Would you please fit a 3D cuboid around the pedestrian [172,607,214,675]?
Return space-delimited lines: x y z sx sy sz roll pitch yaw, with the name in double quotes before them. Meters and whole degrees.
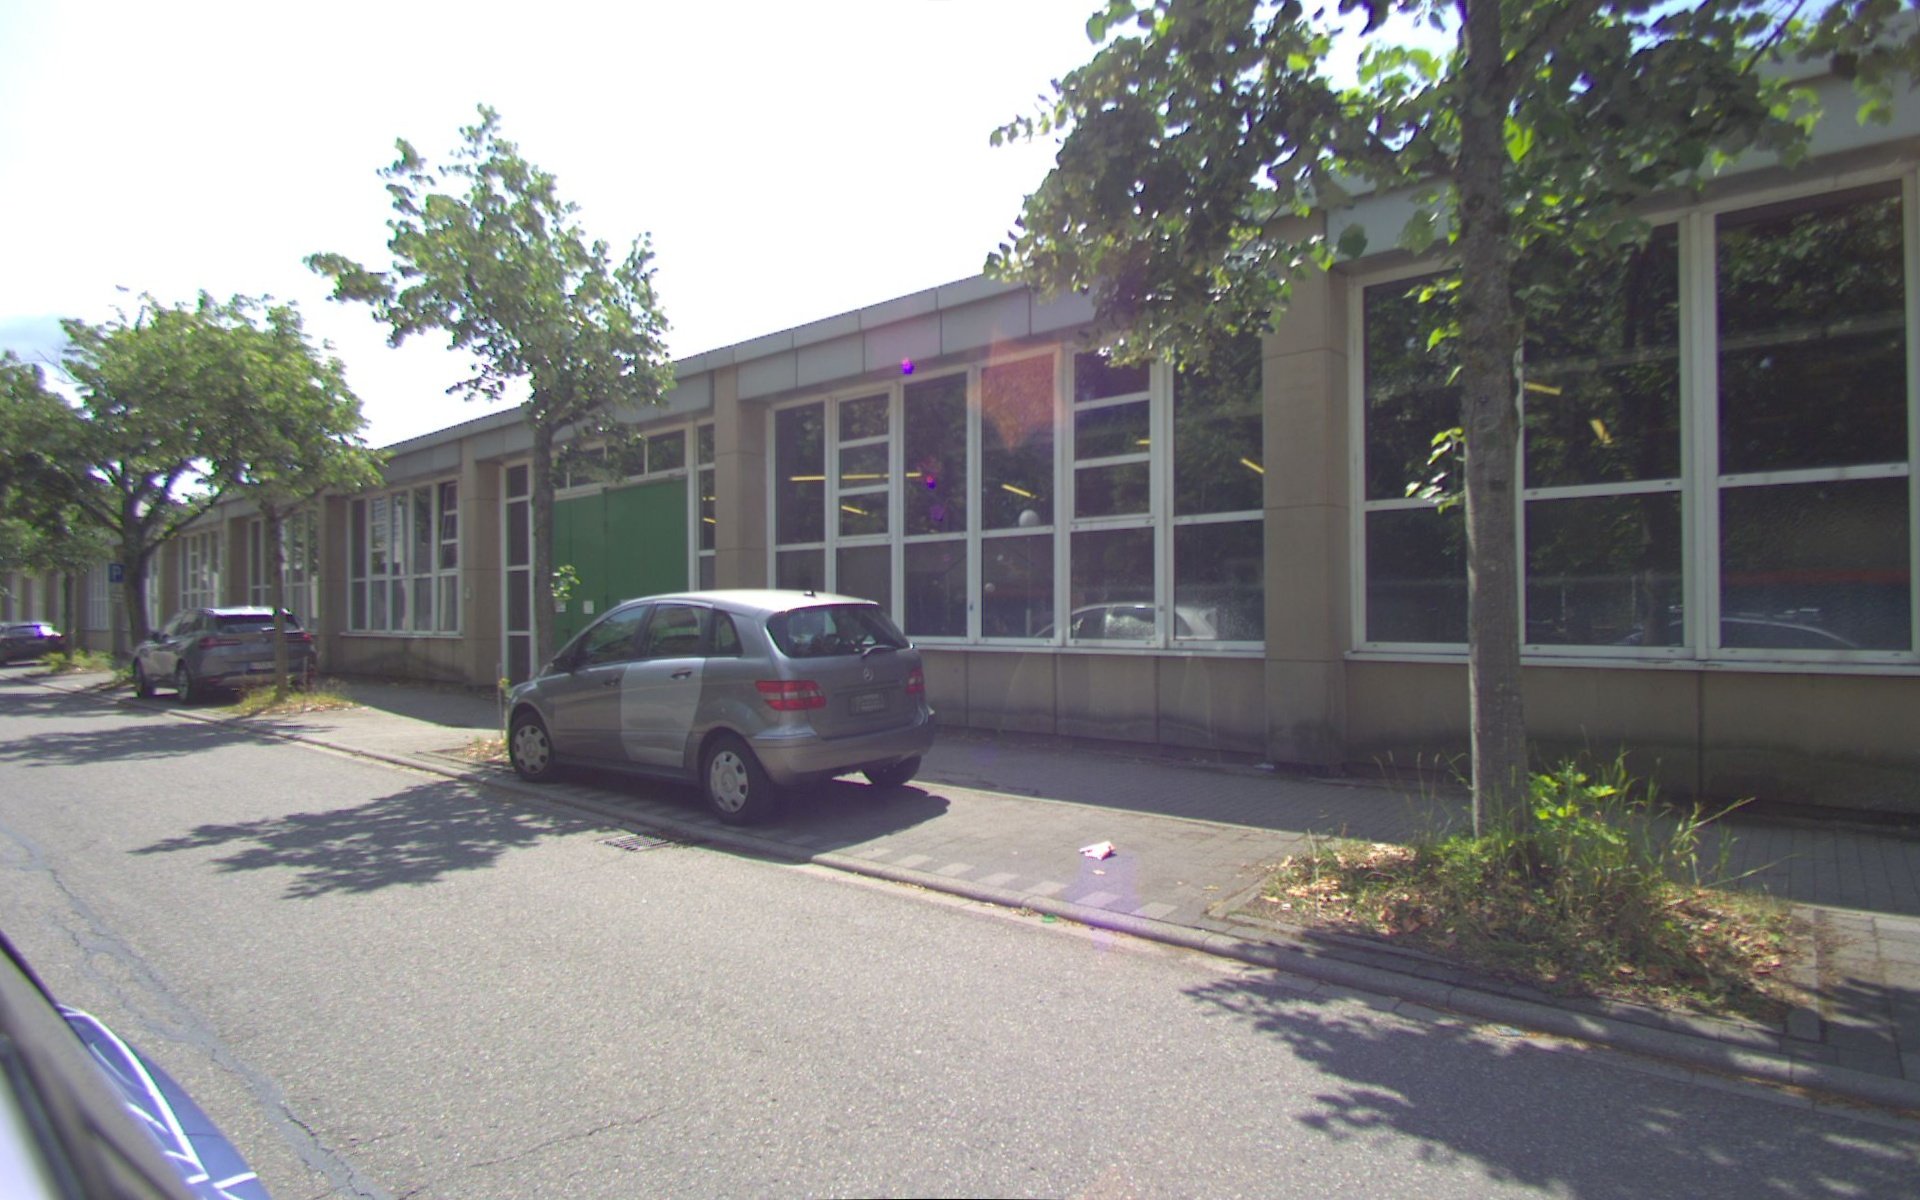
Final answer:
"pedestrian" -20.922 1.108 27.609 0.670 1.800 0.779 -3 -1 44

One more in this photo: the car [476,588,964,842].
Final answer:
"car" -2.124 0.746 8.343 4.108 1.568 1.740 -1 1 39

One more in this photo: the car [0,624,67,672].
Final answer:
"car" -31.645 1.597 34.084 4.286 1.446 1.708 -2 0 40

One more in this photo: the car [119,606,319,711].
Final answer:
"car" -13.720 0.993 18.646 4.511 1.644 1.804 -1 1 38

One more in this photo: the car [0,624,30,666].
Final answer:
"car" -35.990 1.688 37.602 3.749 1.460 1.613 -1 1 40
